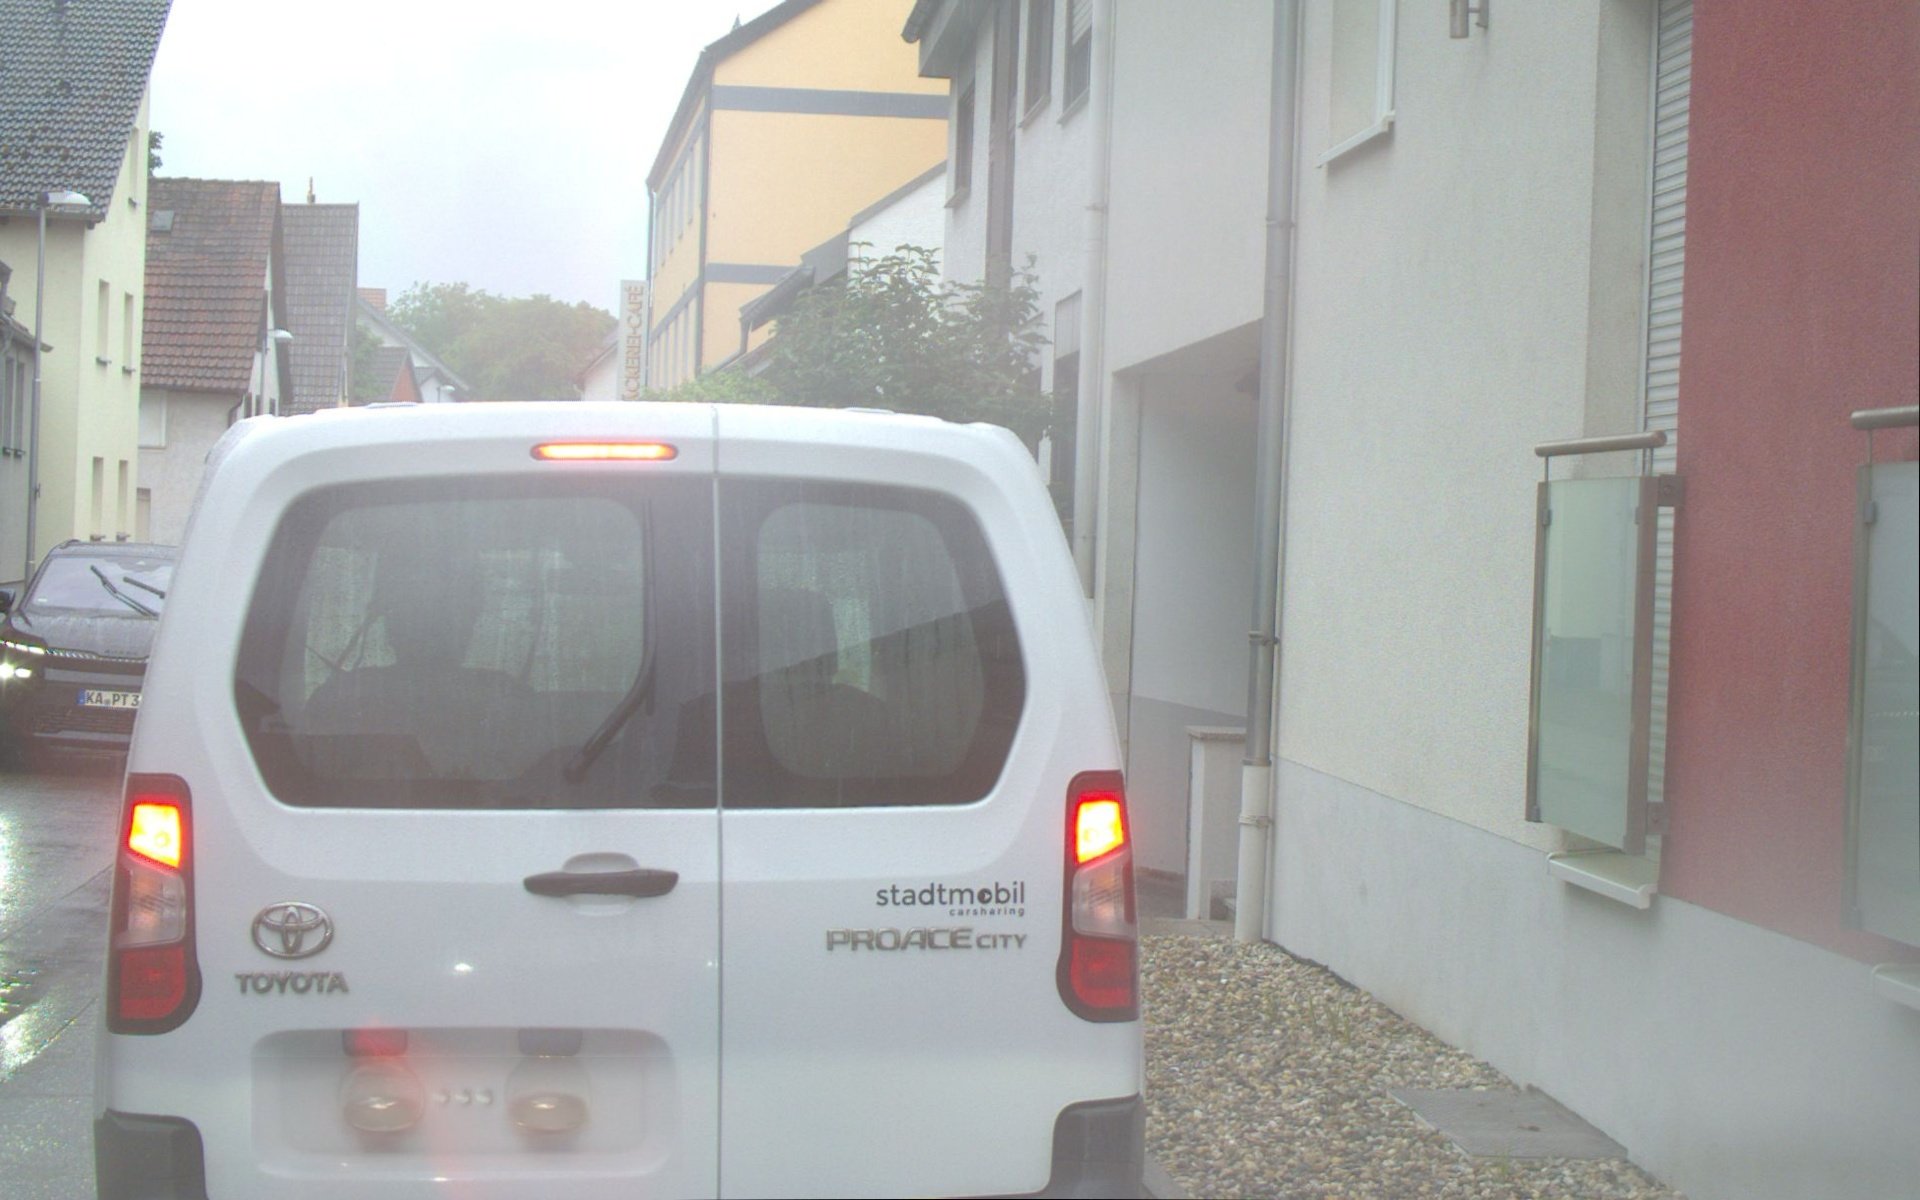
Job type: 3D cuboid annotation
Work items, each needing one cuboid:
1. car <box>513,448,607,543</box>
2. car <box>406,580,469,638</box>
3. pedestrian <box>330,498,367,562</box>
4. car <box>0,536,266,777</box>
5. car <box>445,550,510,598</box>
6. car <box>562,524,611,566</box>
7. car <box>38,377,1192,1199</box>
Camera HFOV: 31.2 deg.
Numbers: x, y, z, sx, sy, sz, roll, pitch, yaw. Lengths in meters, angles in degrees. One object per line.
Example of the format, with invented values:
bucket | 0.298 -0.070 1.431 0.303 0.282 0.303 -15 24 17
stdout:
car | -8.844 -2.292 76.256 1.993 2.007 4.001 1 1 -6
car | -13.933 0.225 91.499 1.560 1.472 4.001 1 1 -10
pedestrian | -18.315 -2.084 102.989 1.050 1.886 0.877 1 0 -9
car | -6.063 0.344 24.965 1.832 1.550 4.241 2 0 -10
car | -14.313 -0.774 101.860 1.779 1.390 4.001 1 1 -10
car | -18.267 -2.663 168.186 1.993 2.007 4.000 1 1 -1
car | -0.829 0.536 7.335 1.774 1.774 4.001 1 1 -9
